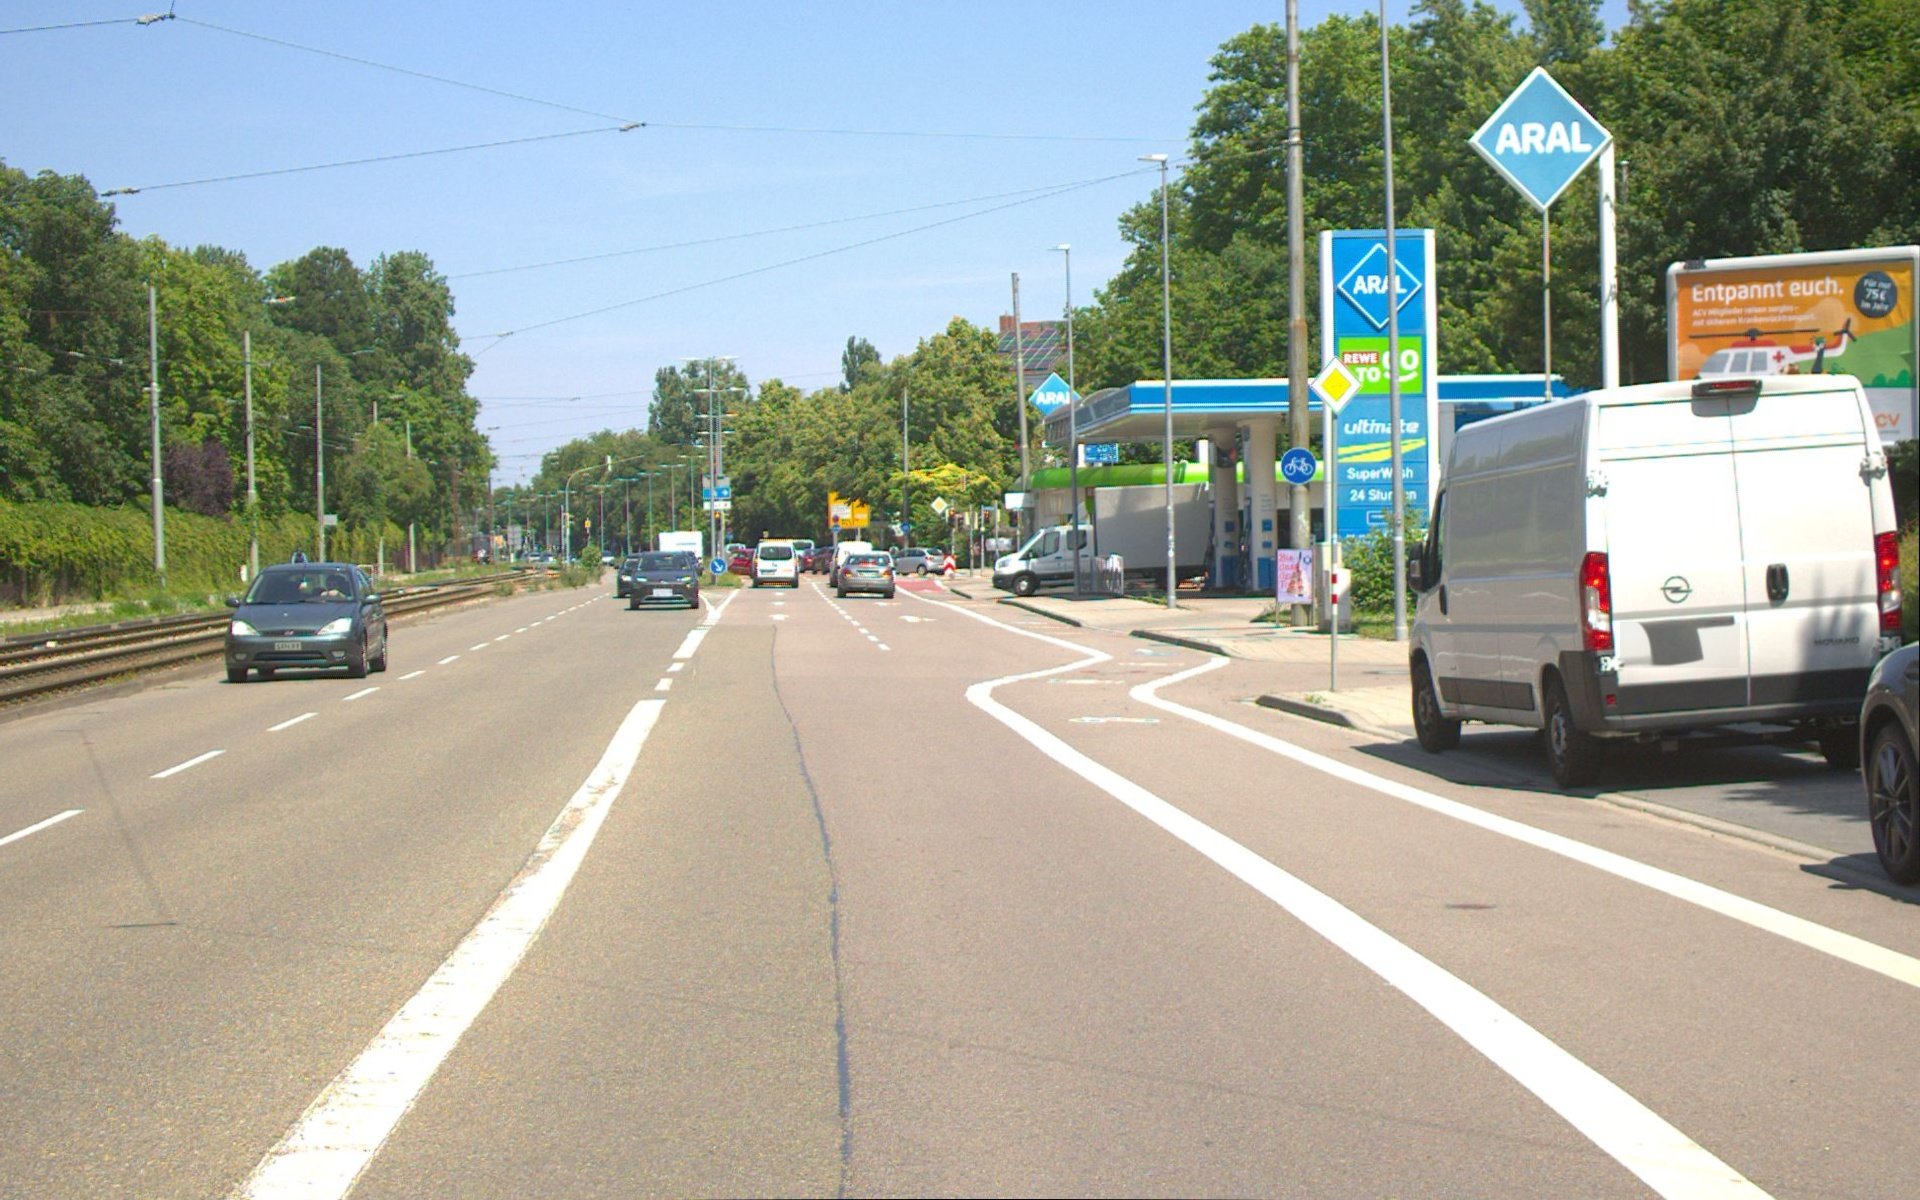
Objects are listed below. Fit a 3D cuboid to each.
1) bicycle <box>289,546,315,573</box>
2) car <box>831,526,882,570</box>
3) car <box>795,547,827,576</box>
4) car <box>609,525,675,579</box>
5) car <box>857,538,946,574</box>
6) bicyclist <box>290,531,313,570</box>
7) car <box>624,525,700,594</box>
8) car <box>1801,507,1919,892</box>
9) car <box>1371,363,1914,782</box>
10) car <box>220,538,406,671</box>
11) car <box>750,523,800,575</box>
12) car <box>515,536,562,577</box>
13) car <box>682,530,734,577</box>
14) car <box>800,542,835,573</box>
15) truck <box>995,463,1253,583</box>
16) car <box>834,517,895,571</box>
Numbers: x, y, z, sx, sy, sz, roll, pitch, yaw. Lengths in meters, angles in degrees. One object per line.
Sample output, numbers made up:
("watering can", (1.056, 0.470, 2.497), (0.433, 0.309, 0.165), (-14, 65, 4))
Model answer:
("bicycle", (-27.402, -1.690, 143.146), (0.681, 1.050, 2.009), (-5, 0, -3))
("car", (-4.078, -2.057, 134.832), (1.755, 1.625, 4.325), (-3, 1, -4))
("car", (-9.009, -2.355, 207.907), (1.755, 1.625, 4.325), (-3, 1, -4))
("car", (-10.363, -1.556, 111.817), (1.755, 1.625, 4.325), (-3, 1, -9))
("car", (-3.080, -2.327, 182.451), (4.313, 1.625, 1.760), (-3, 1, 17))
("bicyclist", (-27.428, -2.061, 143.153), (0.681, 1.569, 0.795), (-5, 0, -3))
("car", (-7.645, -1.071, 88.524), (1.755, 1.625, 4.325), (-3, 1, -4))
("car", (4.991, 0.406, 13.974), (1.755, 1.625, 4.325), (-3, 1, -4))
("car", (4.537, -0.235, 24.024), (2.001, 2.448, 6.111), (-3, 1, -5))
("car", (-8.237, 0.019, 44.081), (1.755, 1.504, 4.325), (-3, 1, -4))
("car", (-7.212, -2.006, 133.778), (1.755, 1.868, 4.325), (-3, 1, -4))
("car", (-17.911, -1.851, 146.119), (1.755, 1.625, 4.325), (-3, 1, -9))
("car", (-9.610, -1.793, 131.385), (1.755, 1.625, 4.324), (-3, 1, -2))
("car", (-7.938, -2.368, 191.124), (1.755, 1.625, 4.325), (-3, 1, -4))
("truck", (5.157, -2.421, 108.206), (7.968, 3.590, 2.662), (-1, 1, 3))
("car", (-3.129, -1.821, 111.901), (1.755, 1.625, 4.325), (-3, 1, -4))
